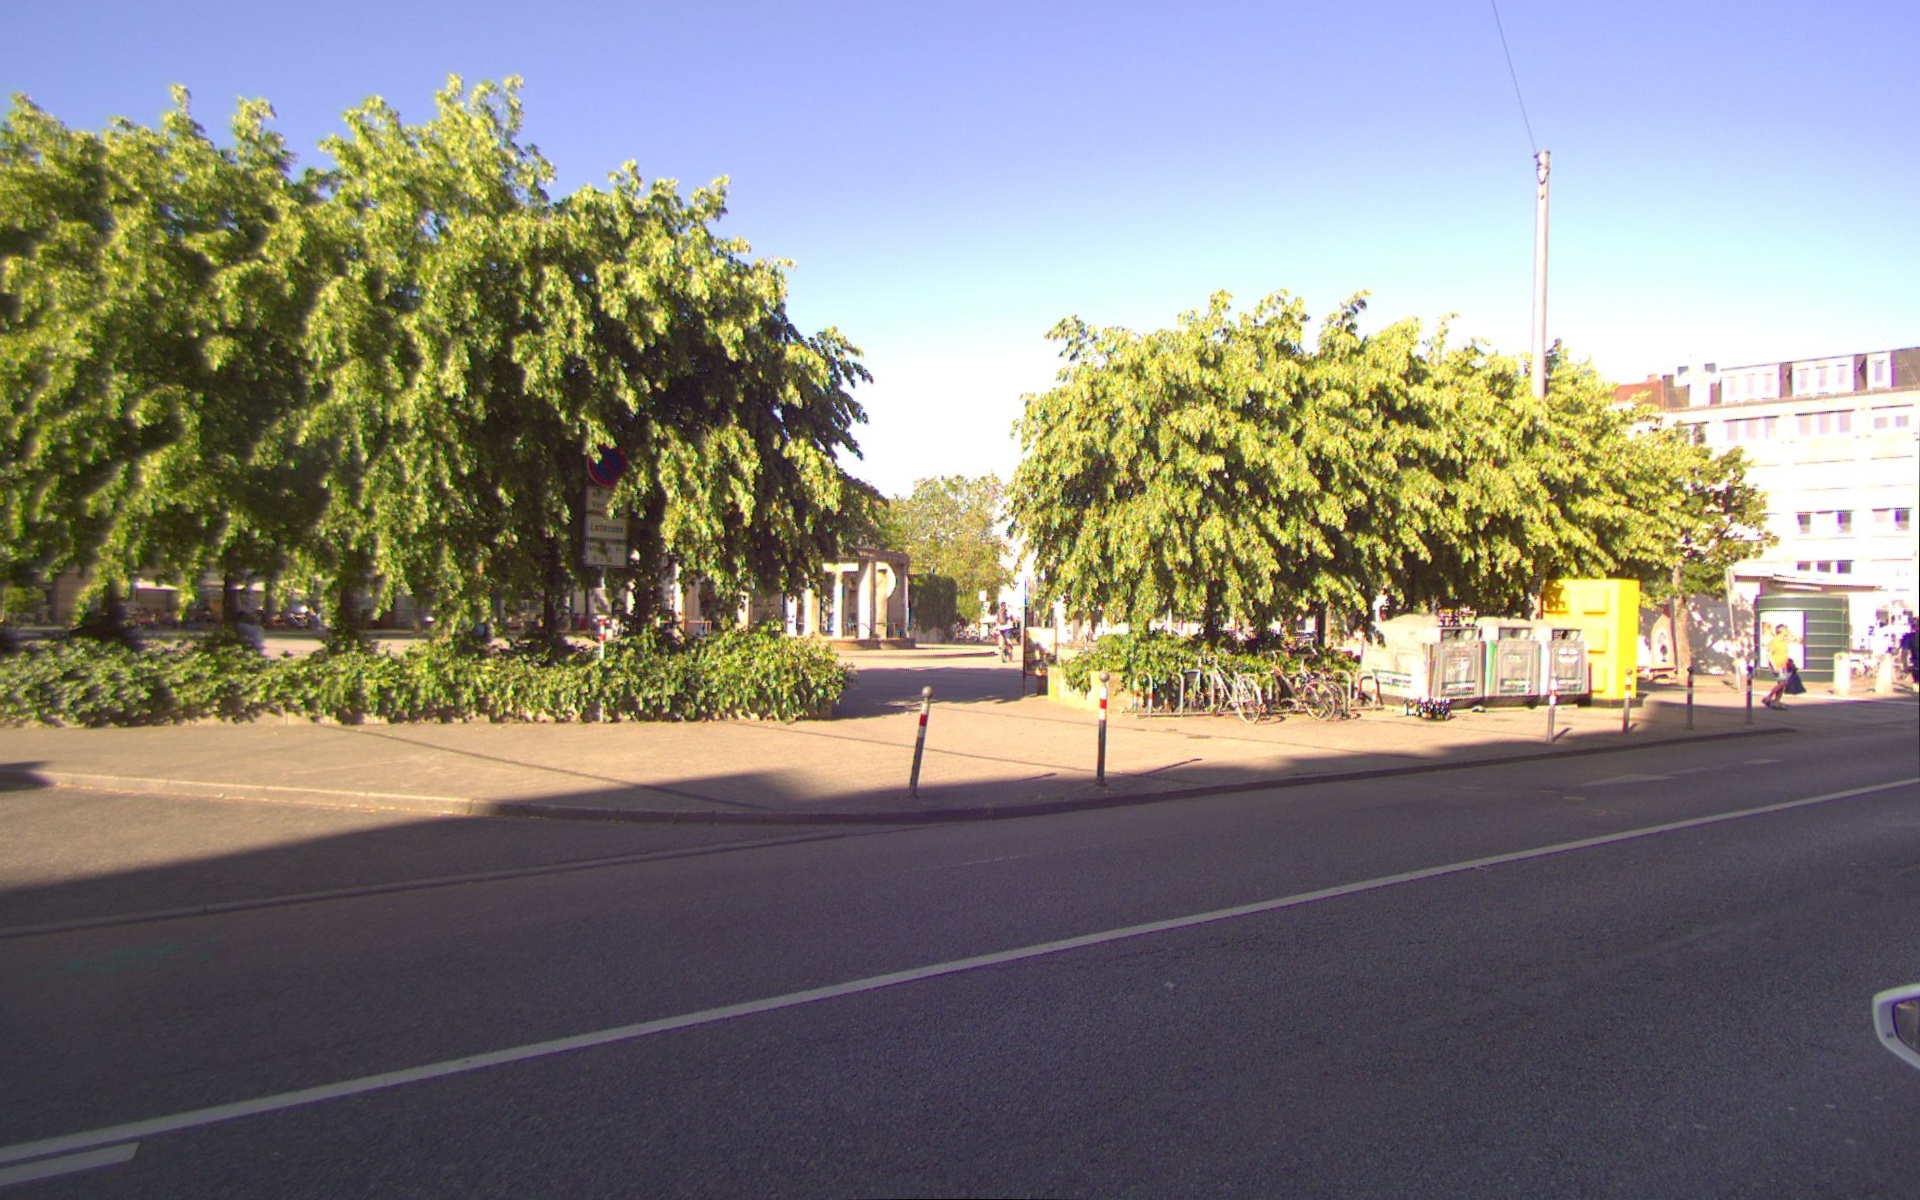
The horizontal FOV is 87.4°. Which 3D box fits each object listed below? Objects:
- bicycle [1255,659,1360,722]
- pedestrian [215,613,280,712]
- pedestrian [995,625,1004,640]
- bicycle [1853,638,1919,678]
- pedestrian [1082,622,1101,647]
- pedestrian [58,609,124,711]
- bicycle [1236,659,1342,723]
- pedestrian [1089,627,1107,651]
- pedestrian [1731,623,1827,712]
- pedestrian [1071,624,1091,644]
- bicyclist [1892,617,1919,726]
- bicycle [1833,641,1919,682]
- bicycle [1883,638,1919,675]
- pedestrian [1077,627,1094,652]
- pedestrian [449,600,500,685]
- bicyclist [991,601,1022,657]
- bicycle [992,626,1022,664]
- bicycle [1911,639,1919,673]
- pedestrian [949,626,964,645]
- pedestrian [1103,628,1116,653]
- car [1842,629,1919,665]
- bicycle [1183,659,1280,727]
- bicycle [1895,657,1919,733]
[{"bbox_3d":[5.670,1.456,16.483,0.465,0.870,1.654,2,0,-35],"label":"bicycle"},{"bbox_3d":[-10.854,0.937,15.305,0.581,1.456,0.615,2,0,33],"label":"pedestrian"},{"bbox_3d":[4.064,3.405,104.355,0.744,1.557,0.673,2,0,-12],"label":"pedestrian"},{"bbox_3d":[33.141,2.040,35.067,0.923,1.291,2.764,2,0,-32],"label":"bicycle"},{"bbox_3d":[9.986,2.628,76.311,1.274,1.867,1.103,2,0,15],"label":"pedestrian"},{"bbox_3d":[-12.862,0.875,14.888,0.615,1.456,0.647,2,0,-32],"label":"pedestrian"},{"bbox_3d":[5.271,1.446,16.188,0.465,0.870,1.659,2,0,-35],"label":"bicycle"},{"bbox_3d":[9.101,2.553,66.167,1.003,1.541,1.036,2,0,15],"label":"pedestrian"},{"bbox_3d":[16.855,1.368,20.691,1.045,1.742,1.108,2,0,-19],"label":"pedestrian"},{"bbox_3d":[7.904,2.209,65.506,0.892,1.230,0.857,2,0,-38],"label":"pedestrian"},{"bbox_3d":[15.667,1.152,16.363,0.693,1.732,0.805,0,-1,43],"label":"bicyclist"},{"bbox_3d":[31.218,2.064,33.765,0.932,1.211,2.645,2,0,-32],"label":"bicycle"},{"bbox_3d":[35.259,2.084,36.133,0.932,1.287,2.859,2,0,-32],"label":"bicycle"},{"bbox_3d":[7.944,2.468,63.461,0.904,1.541,0.936,2,0,15],"label":"pedestrian"},{"bbox_3d":[-9.098,0.784,18.824,0.688,1.541,0.676,2,0,-41],"label":"pedestrian"},{"bbox_3d":[1.495,0.914,31.917,0.772,1.722,0.896,2,0,14],"label":"bicyclist"},{"bbox_3d":[1.521,1.424,32.138,0.593,1.116,1.990,2,0,13],"label":"bicycle"},{"bbox_3d":[37.243,2.155,37.277,0.932,1.276,2.648,2,0,-32],"label":"bicycle"},{"bbox_3d":[-0.258,2.931,83.499,0.867,1.557,0.894,2,0,33],"label":"pedestrian"},{"bbox_3d":[9.279,2.503,62.438,0.761,1.541,0.838,2,0,6],"label":"pedestrian"},{"bbox_3d":[53.095,2.659,56.493,5.134,1.891,1.875,0,-1,40],"label":"car"},{"bbox_3d":[4.171,1.413,15.529,0.464,0.897,1.558,2,0,-29],"label":"bicycle"},{"bbox_3d":[15.767,1.527,16.414,0.609,1.177,1.947,-3,-4,41],"label":"bicycle"}]
